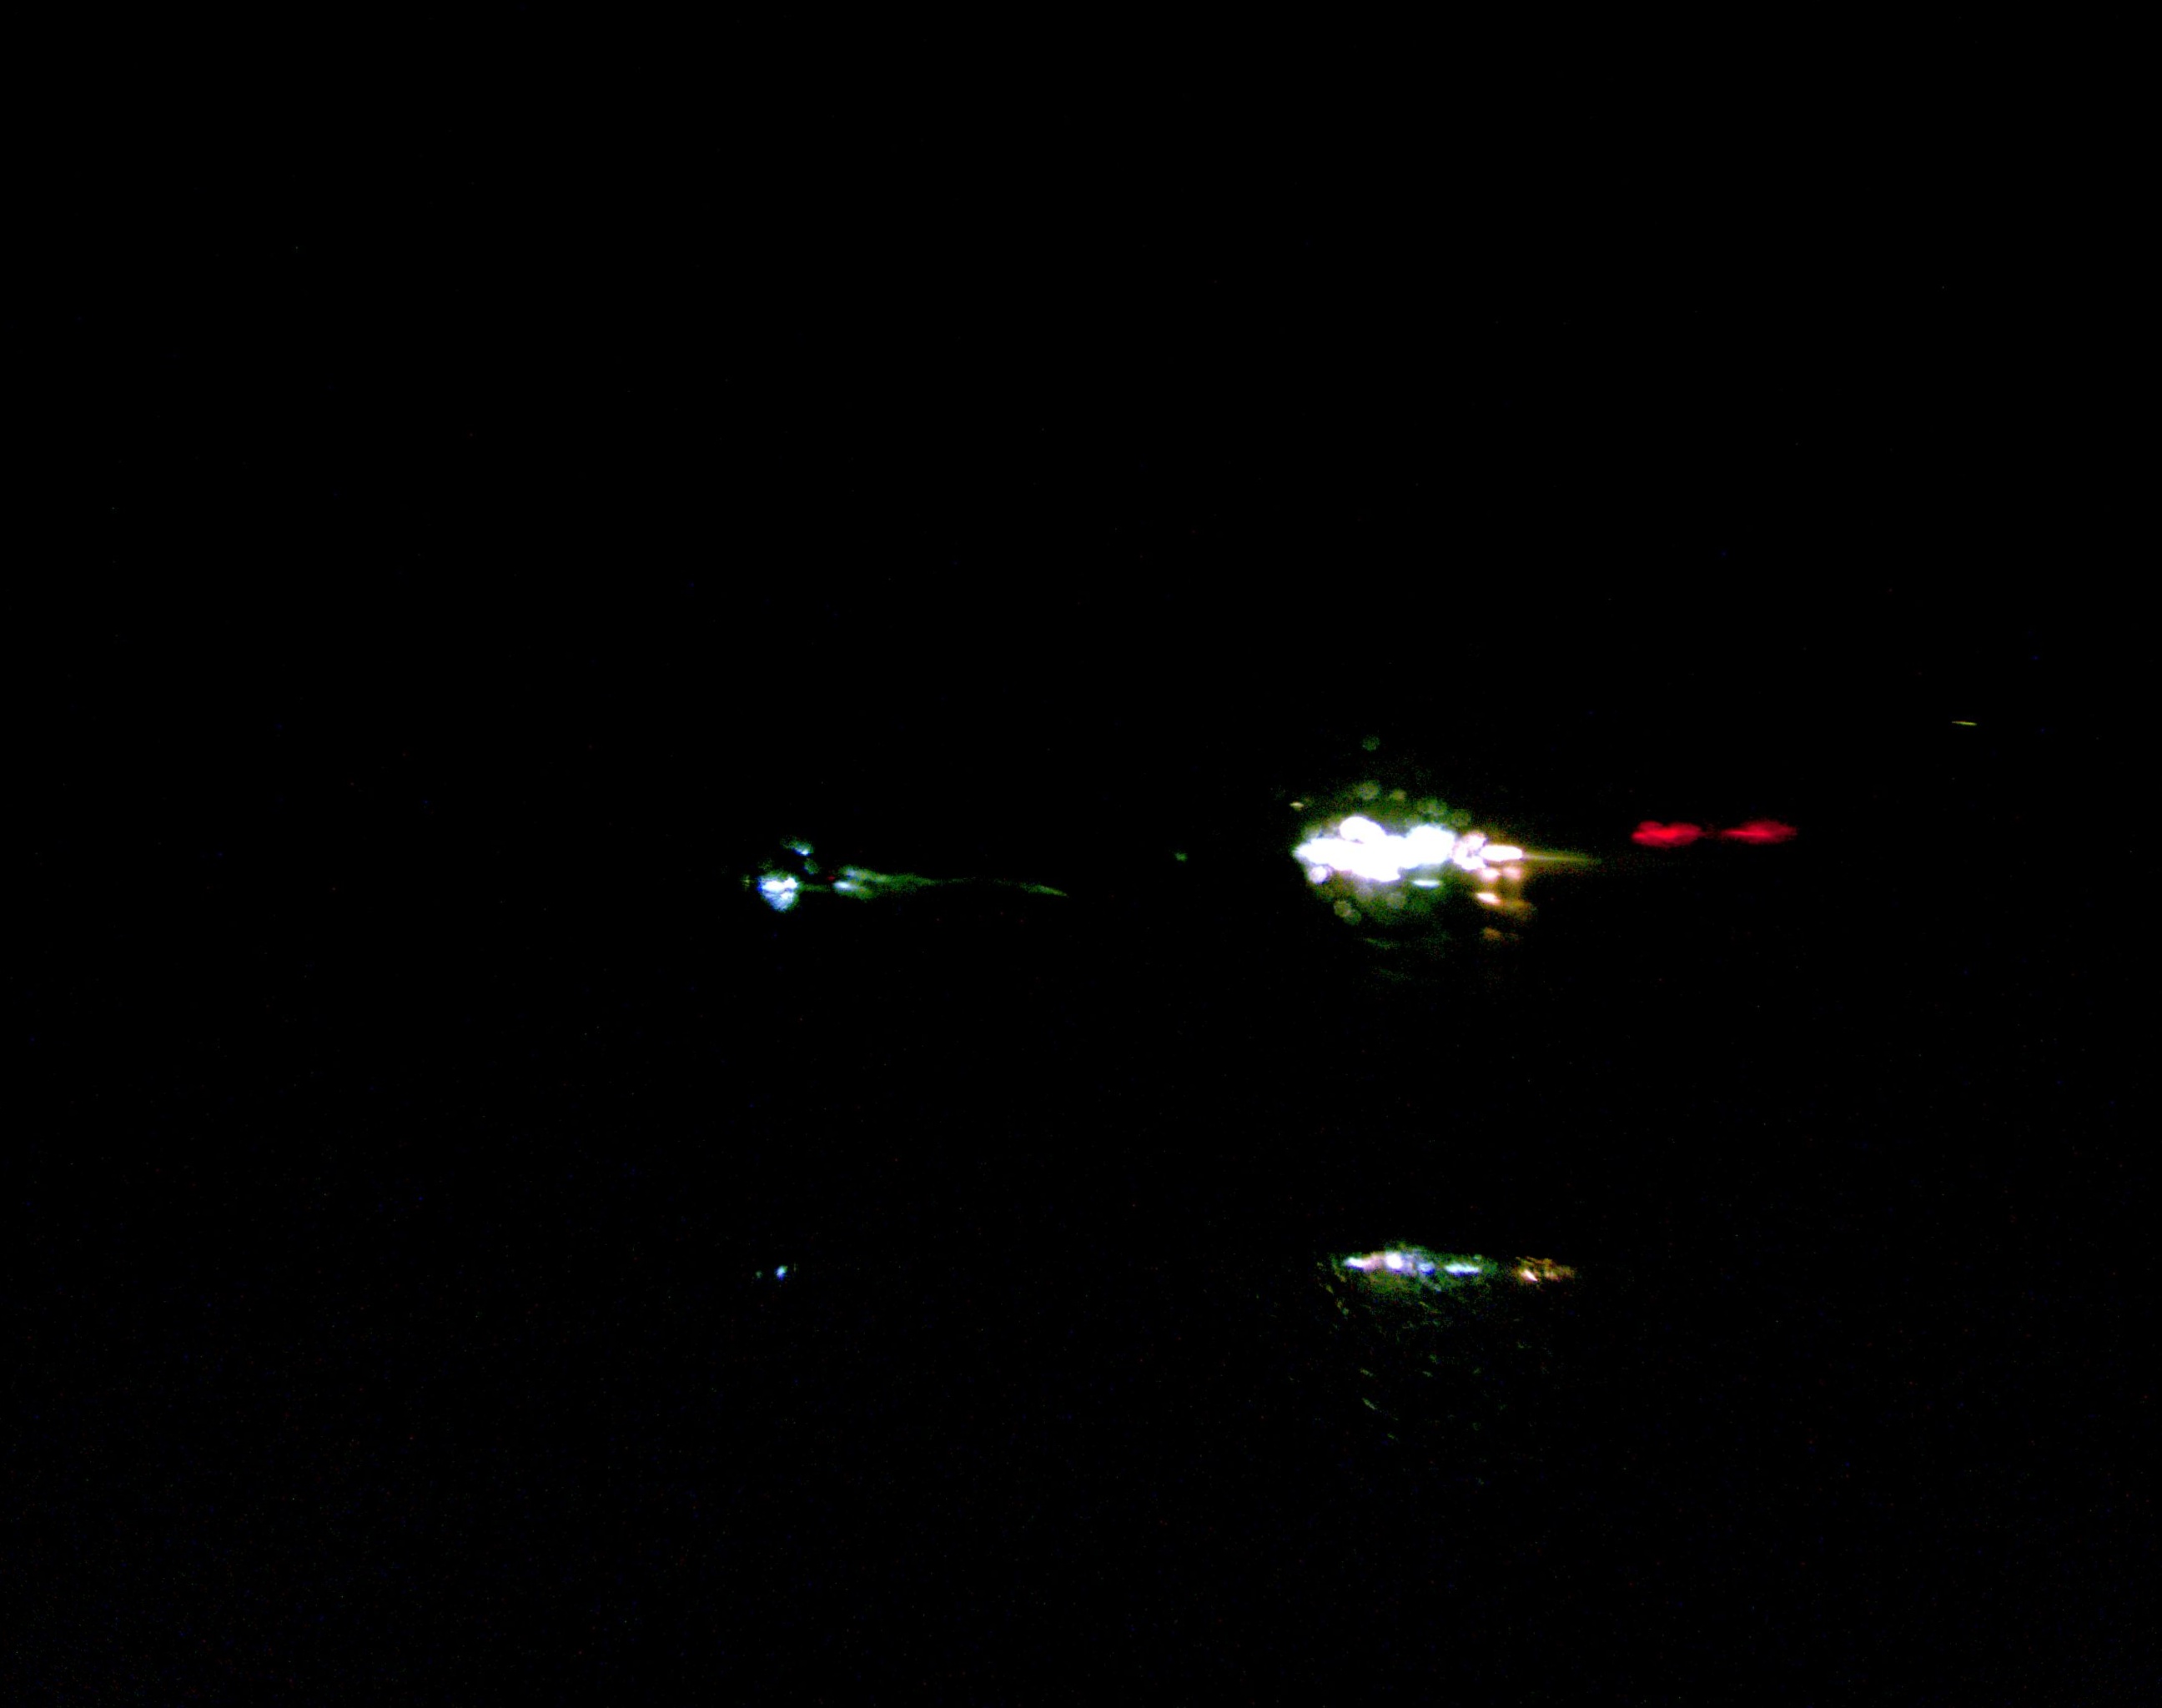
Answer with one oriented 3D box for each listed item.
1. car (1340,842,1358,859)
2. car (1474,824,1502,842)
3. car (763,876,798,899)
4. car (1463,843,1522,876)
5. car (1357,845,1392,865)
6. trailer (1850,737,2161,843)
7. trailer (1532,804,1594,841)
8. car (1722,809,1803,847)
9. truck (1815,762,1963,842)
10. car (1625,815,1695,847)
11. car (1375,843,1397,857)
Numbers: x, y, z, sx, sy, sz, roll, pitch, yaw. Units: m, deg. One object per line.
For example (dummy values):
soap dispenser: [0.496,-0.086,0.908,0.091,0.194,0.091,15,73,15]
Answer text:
car: [36.352,-0.498,102.978,1.996,2.002,4.004,-5,0,17]
car: [48.412,-2.476,90.447,1.996,2.002,4.004,-5,0,15]
car: [-25.862,2.909,65.276,2.003,1.737,4.092,-5,0,-31]
car: [21.894,0.268,40.575,1.725,1.586,4.004,-3,0,14]
car: [24.280,0.065,63.017,1.920,1.586,4.003,-3,0,10]
trailer: [40.855,-2.477,33.689,2.656,3.709,13.957,-5,0,15]
trailer: [59.178,-3.714,93.724,2.774,4.005,14.030,-5,0,18]
car: [40.734,-1.520,45.560,1.996,2.002,4.004,-5,0,17]
truck: [42.707,-2.612,40.445,2.656,3.709,5.709,-5,0,15]
car: [36.579,-1.422,48.100,1.997,1.761,4.004,-5,0,14]
car: [36.653,-0.470,91.369,1.919,1.586,4.004,-3,0,16]
